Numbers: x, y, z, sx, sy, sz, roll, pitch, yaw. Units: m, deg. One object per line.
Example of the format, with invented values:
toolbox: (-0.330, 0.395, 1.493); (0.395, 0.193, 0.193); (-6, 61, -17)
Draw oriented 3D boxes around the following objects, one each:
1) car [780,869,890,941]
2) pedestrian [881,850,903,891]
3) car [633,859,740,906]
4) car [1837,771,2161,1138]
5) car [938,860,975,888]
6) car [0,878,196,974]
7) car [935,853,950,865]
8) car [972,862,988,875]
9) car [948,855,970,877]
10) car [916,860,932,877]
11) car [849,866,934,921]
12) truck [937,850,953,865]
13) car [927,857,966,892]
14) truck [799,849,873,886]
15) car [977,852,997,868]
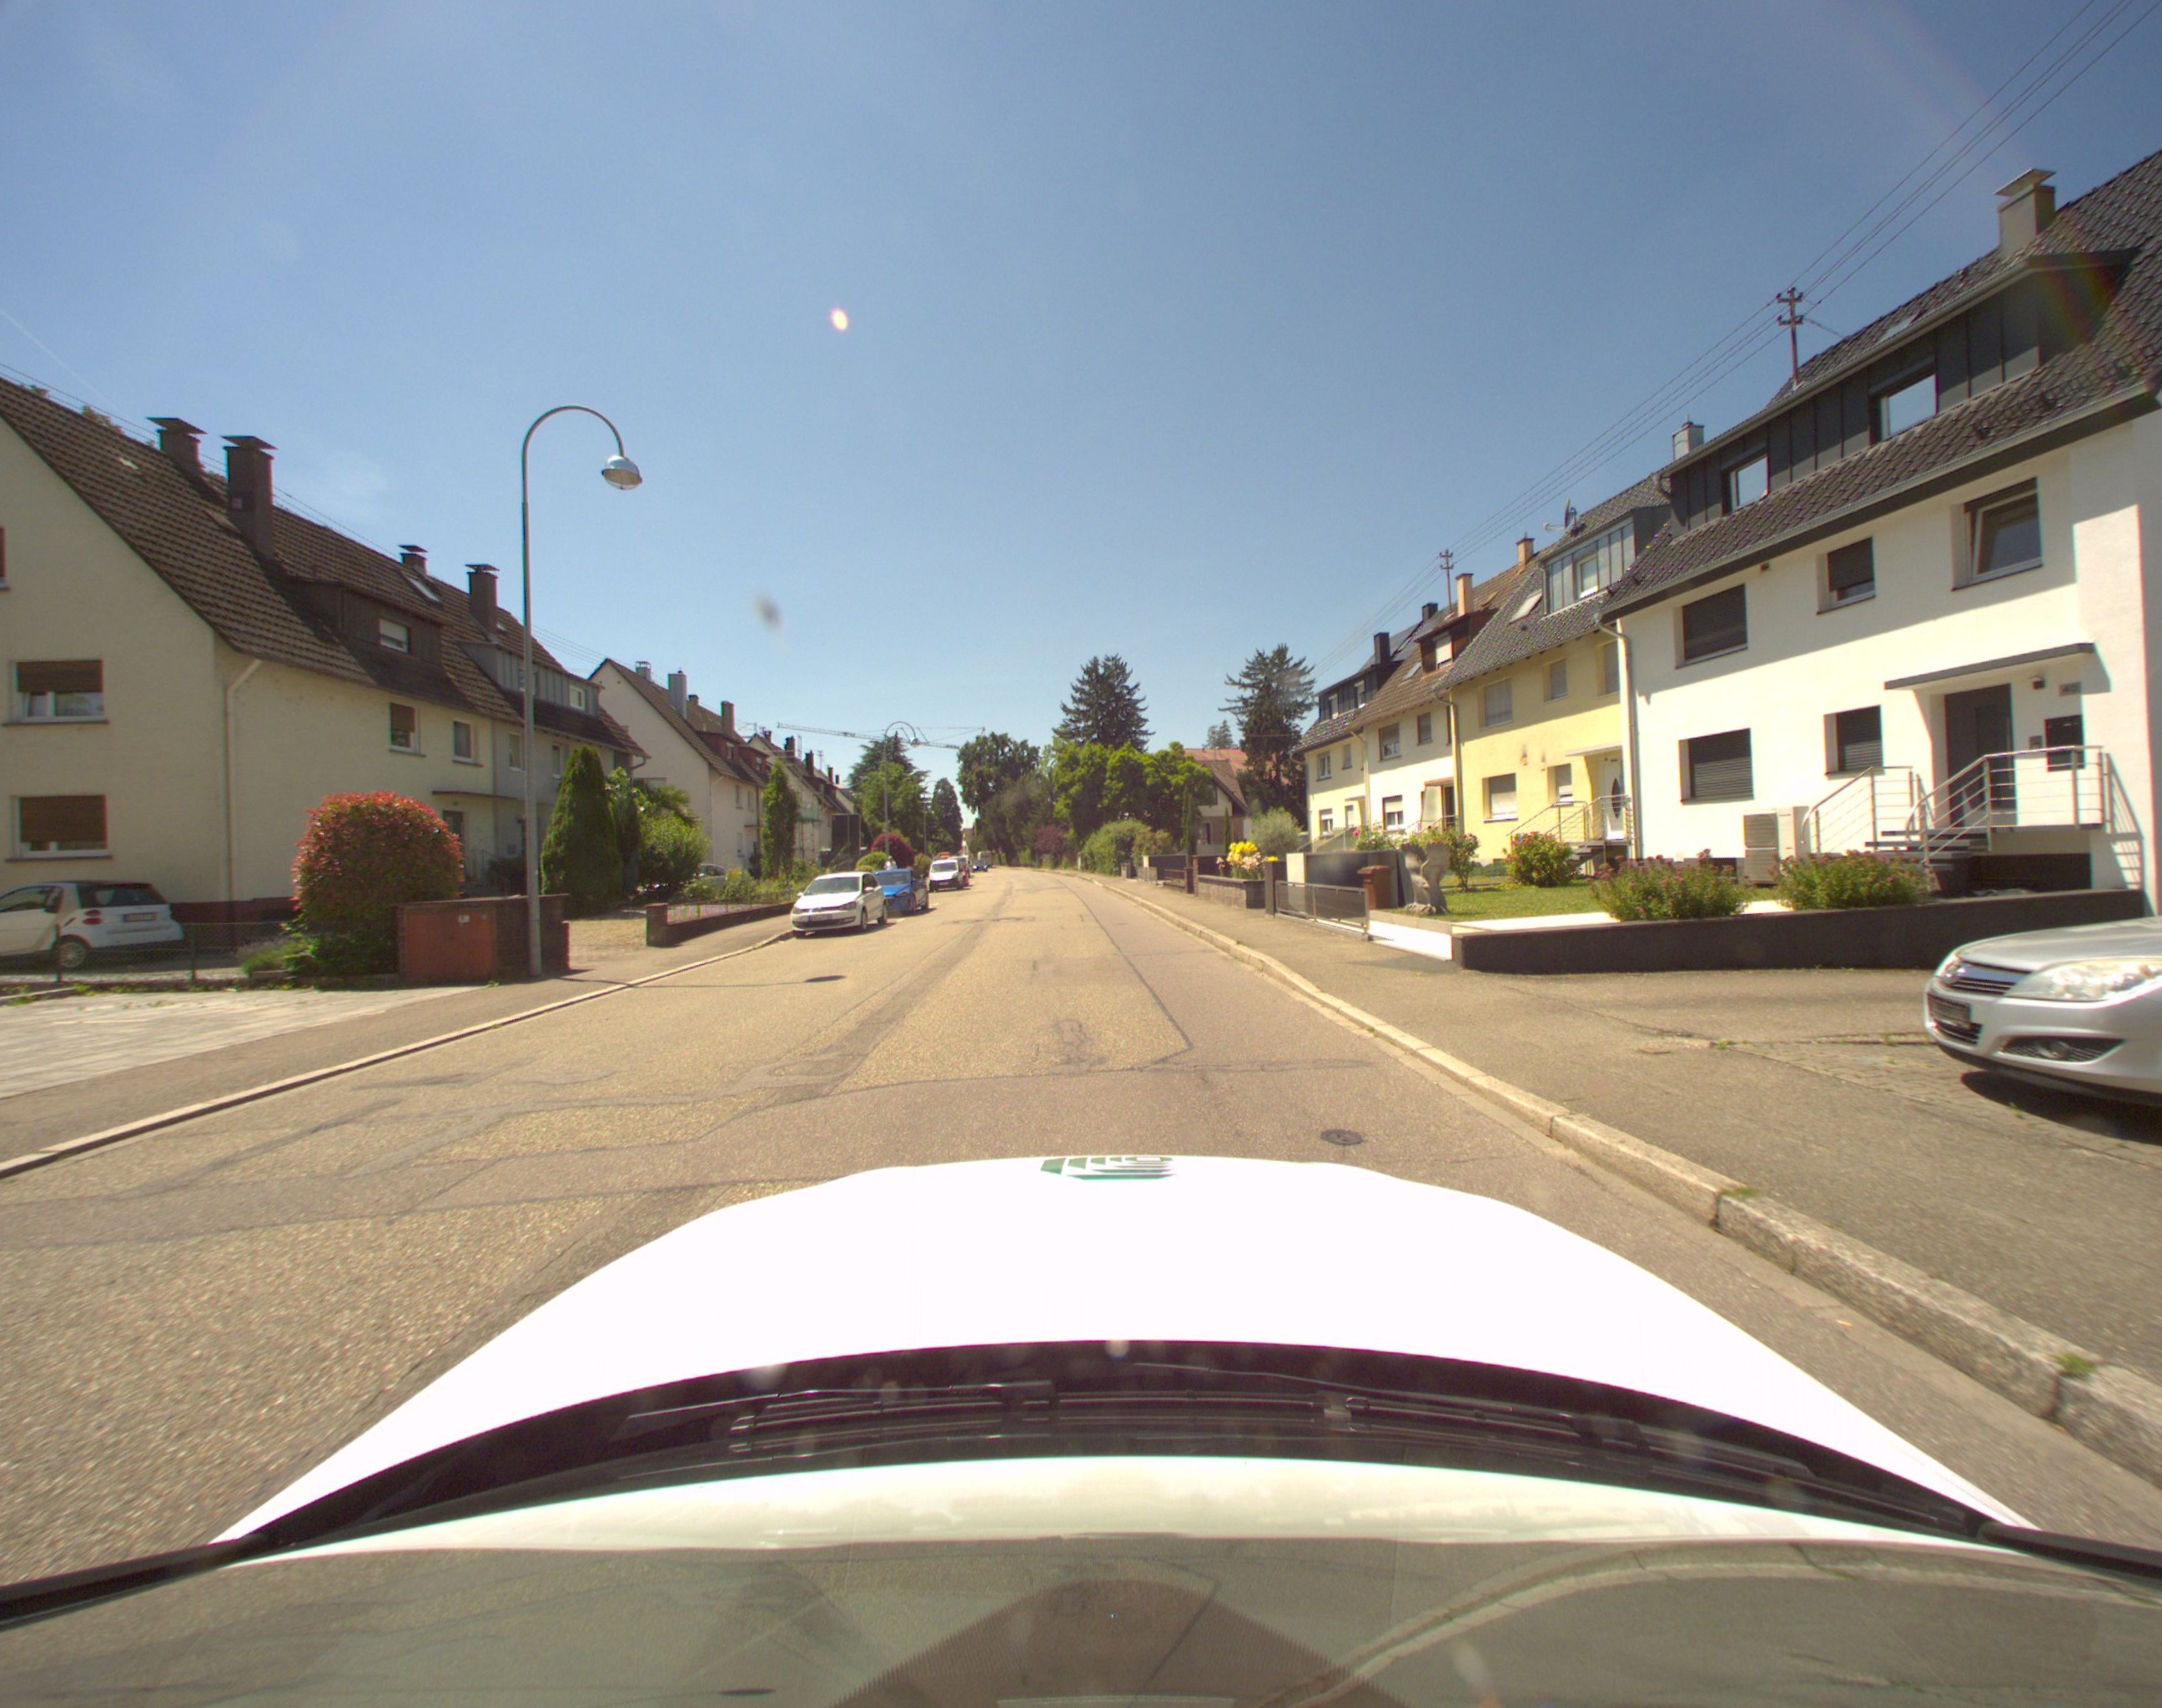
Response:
car: (-5.993, 1.179, 20.302); (1.575, 1.423, 3.937); (-4, 0, -2)
pedestrian: (-9.019, 0.771, 38.826); (0.687, 1.890, 1.019); (2, -1, 1)
car: (-13.745, 1.014, 28.707); (1.764, 1.508, 4.357); (-1, -2, -2)
car: (6.284, 0.435, 3.439); (4.249, 1.548, 1.767); (0, -1, 31)
car: (-7.743, 1.221, 50.974); (1.757, 1.477, 4.053); (-5, 0, -3)
car: (-18.981, 1.290, 14.794); (3.776, 1.536, 1.645); (-1, 1, -4)
car: (-21.512, 0.765, 126.186); (1.854, 1.671, 4.689); (-5, 0, -14)
car: (-11.709, 1.680, 94.740); (1.730, 1.417, 3.990); (-4, 0, -7)
car: (-11.798, 1.138, 78.314); (1.887, 1.881, 4.963); (-3, 0, -10)
car: (-17.567, 1.585, 91.051); (1.648, 1.752, 4.338); (-4, 0, -11)
car: (-5.990, 1.182, 26.177); (1.765, 1.438, 4.358); (-4, 0, -2)
truck: (-27.127, 0.673, 162.544); (2.379, 2.830, 5.627); (-3, 0, -16)
car: (-7.464, 1.090, 45.490); (1.720, 1.736, 3.880); (-5, 0, -5)
truck: (-14.198, 0.757, 47.384); (3.763, 1.937, 1.543); (-3, 0, -6)
car: (-14.516, 0.908, 125.485); (2.148, 2.315, 4.826); (-4, 0, -16)
